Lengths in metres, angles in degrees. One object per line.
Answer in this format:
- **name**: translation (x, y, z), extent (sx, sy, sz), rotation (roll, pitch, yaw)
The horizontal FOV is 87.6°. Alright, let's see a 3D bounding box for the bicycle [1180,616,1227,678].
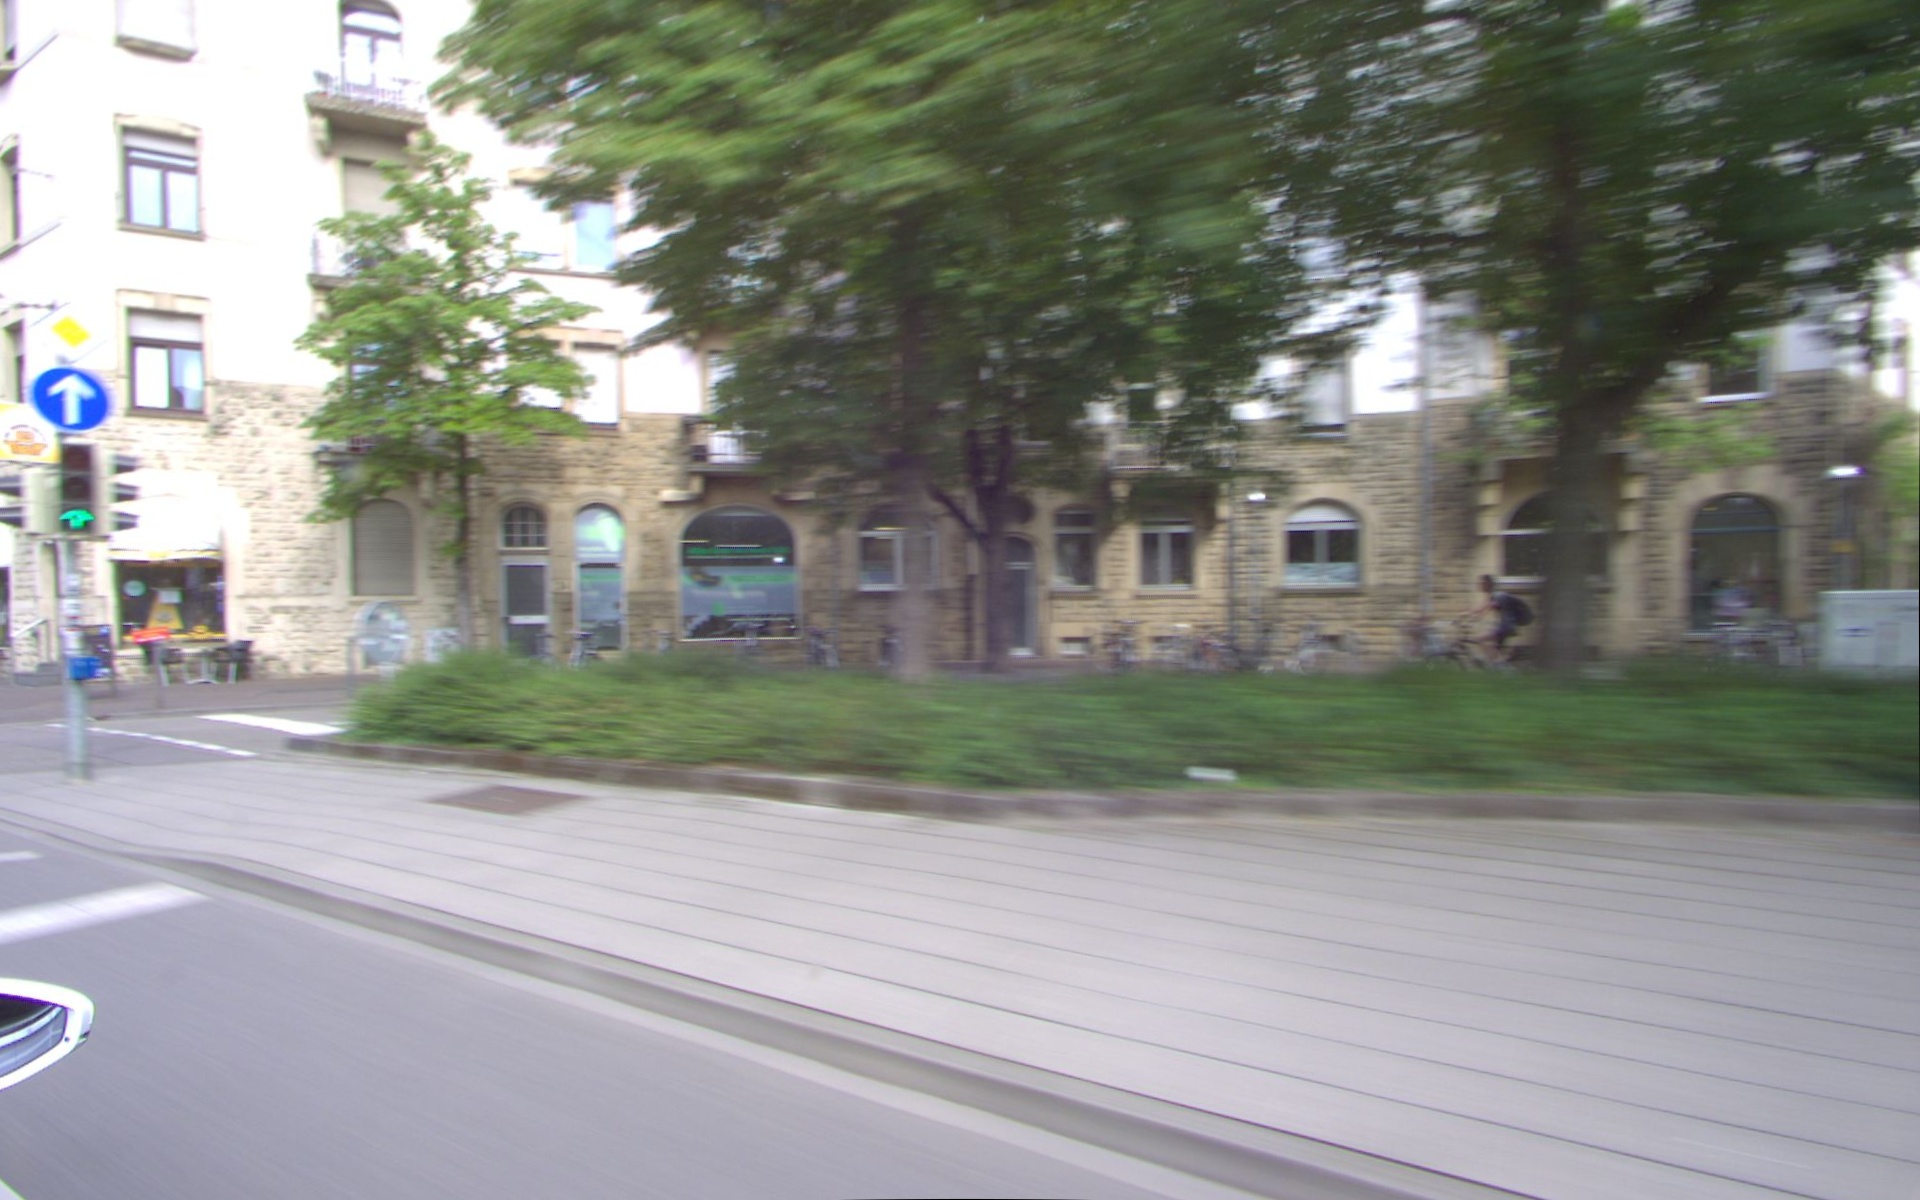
- **bicycle**: translation (4.809, 0.894, 19.715), extent (0.589, 1.143, 1.888), rotation (0, 0, 23)

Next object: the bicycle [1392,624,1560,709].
- **bicycle**: translation (7.467, 0.951, 14.587), extent (2.064, 1.167, 0.654), rotation (0, 1, 14)

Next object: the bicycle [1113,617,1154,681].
- **bicycle**: translation (3.439, 0.945, 19.932), extent (0.522, 1.143, 1.893), rotation (0, 2, 1)

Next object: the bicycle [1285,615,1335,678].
- **bicycle**: translation (6.799, 0.880, 19.518), extent (0.583, 1.143, 1.893), rotation (0, 0, 9)

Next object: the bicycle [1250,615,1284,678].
- **bicycle**: translation (6.009, 0.886, 19.662), extent (0.572, 1.143, 1.891), rotation (0, 0, 15)

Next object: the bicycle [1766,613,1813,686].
- **bicycle**: translation (14.118, 0.813, 17.073), extent (0.526, 1.143, 1.880), rotation (0, 1, 37)

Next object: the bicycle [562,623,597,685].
- **bicycle**: translation (-7.069, 0.981, 18.652), extent (0.441, 1.069, 1.646), rotation (-1, 0, -16)

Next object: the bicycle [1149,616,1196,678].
- **bicycle**: translation (4.247, 0.901, 19.905), extent (0.554, 1.143, 1.888), rotation (0, 0, 23)

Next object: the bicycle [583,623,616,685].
- **bicycle**: translation (-6.670, 0.976, 18.581), extent (0.441, 1.069, 1.646), rotation (-1, 0, -16)

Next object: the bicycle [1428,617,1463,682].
- **bicycle**: translation (9.170, 0.902, 18.883), extent (0.524, 1.143, 1.886), rotation (0, 0, 28)

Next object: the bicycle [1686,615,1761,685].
- **bicycle**: translation (13.427, 0.851, 17.648), extent (0.523, 1.143, 1.889), rotation (0, 0, 21)

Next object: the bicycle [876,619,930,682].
- **bicycle**: translation (-1.124, 0.950, 19.489), extent (0.655, 1.143, 1.890), rotation (-1, 0, -16)

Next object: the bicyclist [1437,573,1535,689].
- **bicyclist**: translation (7.614, 0.443, 14.540), extent (1.118, 1.627, 0.645), rotation (0, 1, 14)

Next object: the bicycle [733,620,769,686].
- **bicycle**: translation (-3.965, 0.965, 18.932), extent (0.523, 1.143, 1.890), rotation (-1, 0, -16)

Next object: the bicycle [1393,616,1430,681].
- **bicycle**: translation (8.640, 0.900, 19.122), extent (0.524, 1.143, 1.886), rotation (0, 0, 28)

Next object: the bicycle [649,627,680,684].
- **bicycle**: translation (-5.539, 1.022, 18.832), extent (0.523, 0.985, 1.646), rotation (-1, 0, -16)

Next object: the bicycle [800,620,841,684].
- **bicycle**: translation (-2.690, 0.970, 19.245), extent (0.523, 1.143, 1.890), rotation (-1, 0, -16)

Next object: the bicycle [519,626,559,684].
- **bicycle**: translation (-7.878, 1.008, 18.781), extent (0.593, 0.985, 1.668), rotation (-1, 0, -20)

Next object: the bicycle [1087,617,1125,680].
- **bicycle**: translation (2.898, 0.943, 19.968), extent (0.522, 1.143, 1.893), rotation (0, 1, 1)
